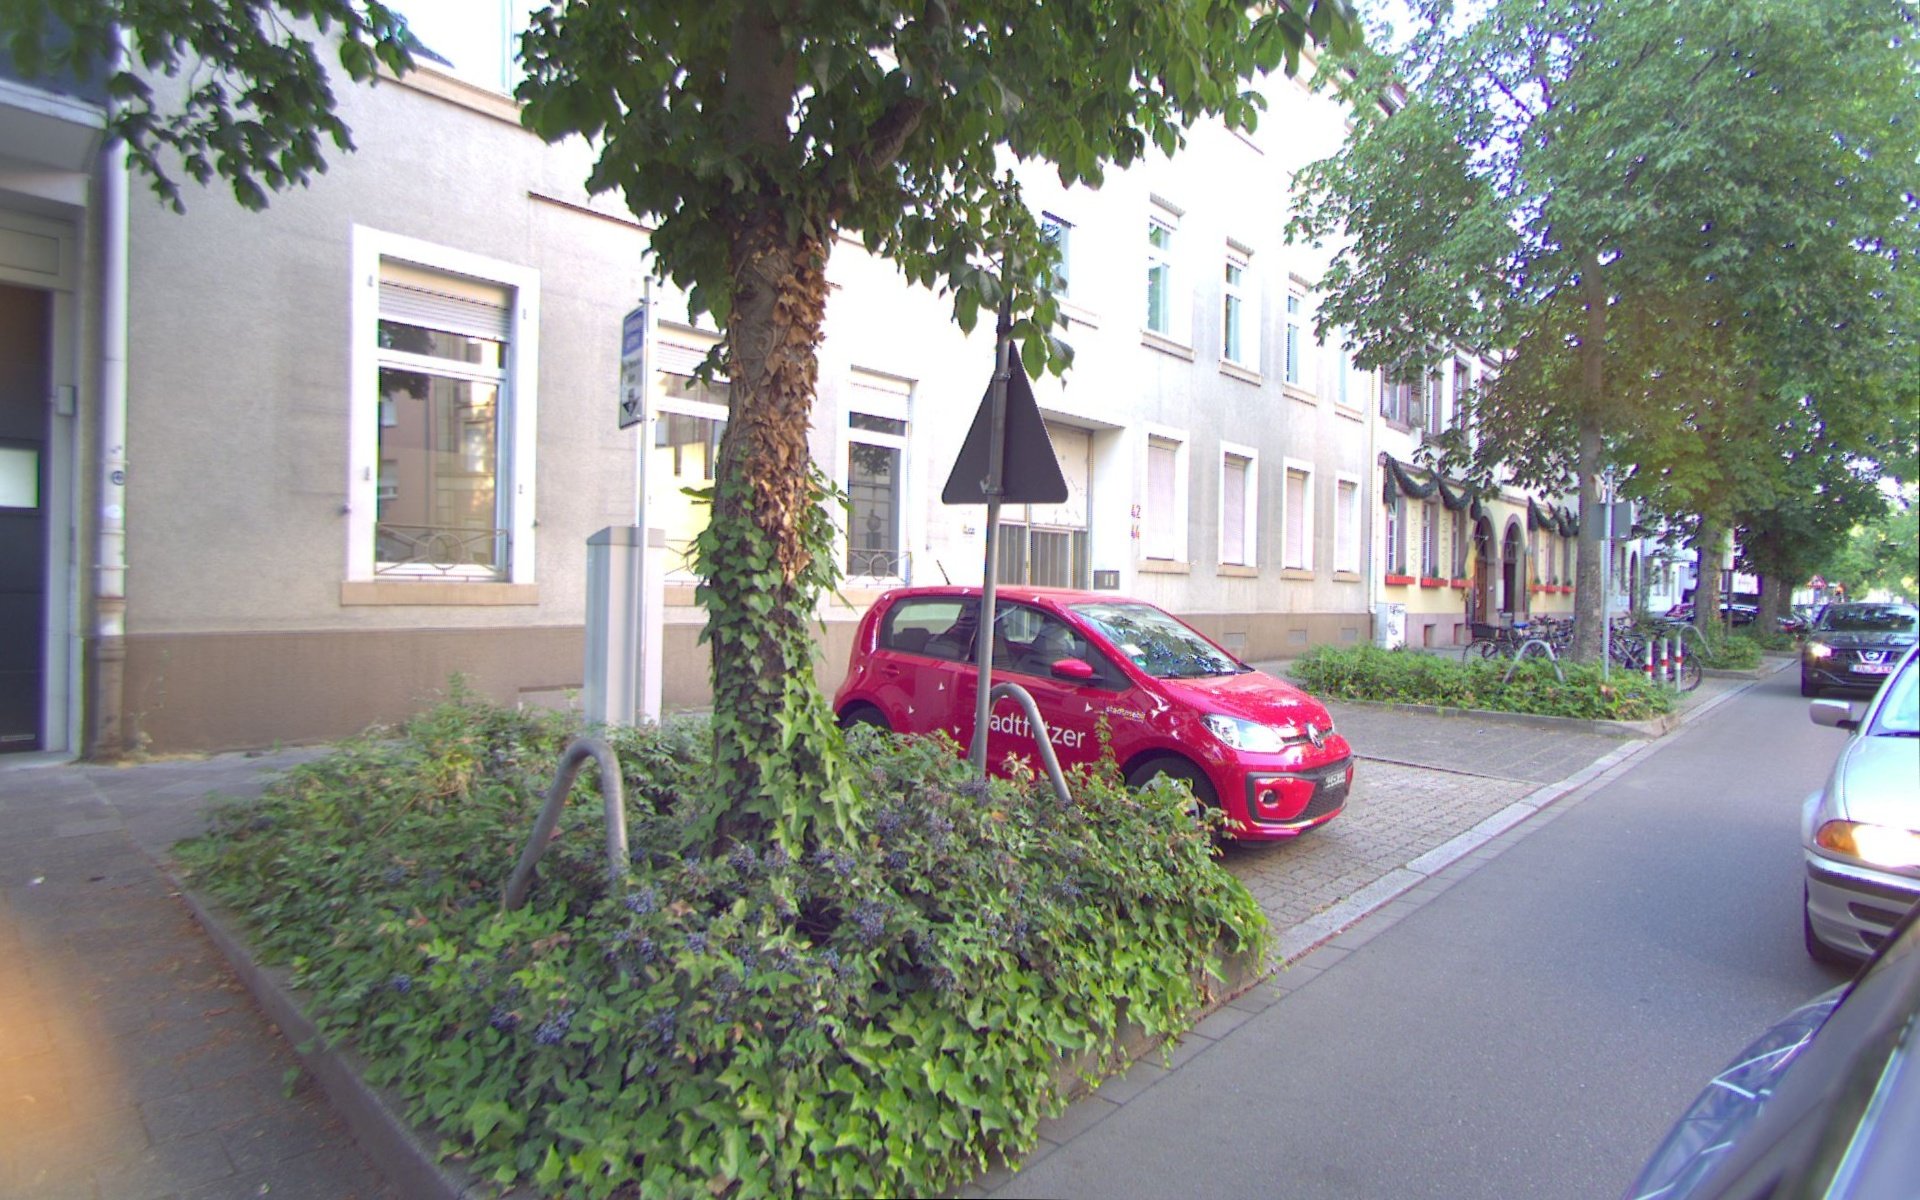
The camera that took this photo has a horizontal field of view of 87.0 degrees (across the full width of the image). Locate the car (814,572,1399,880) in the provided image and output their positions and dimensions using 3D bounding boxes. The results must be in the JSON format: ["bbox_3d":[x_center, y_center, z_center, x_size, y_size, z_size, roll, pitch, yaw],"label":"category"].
[{"bbox_3d":[0.809,0.584,6.815,3.609,1.495,1.639,2,1,42],"label":"car"}]

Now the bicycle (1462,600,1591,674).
[{"bbox_3d":[10.297,0.645,18.430,2.014,1.242,0.529,2,1,33],"label":"bicycle"}]

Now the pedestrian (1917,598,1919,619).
[{"bbox_3d":[91.259,0.811,95.485,1.248,2.039,1.108,1,0,40],"label":"pedestrian"}]

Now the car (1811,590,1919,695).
[{"bbox_3d":[15.729,0.651,17.061,1.802,1.571,3.935,2,1,45],"label":"car"}]

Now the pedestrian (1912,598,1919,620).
[{"bbox_3d":[88.830,0.840,93.543,1.179,2.039,1.007,1,0,40],"label":"pedestrian"}]

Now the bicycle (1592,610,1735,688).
[{"bbox_3d":[12.352,0.828,17.817,2.019,1.242,0.528,2,1,39],"label":"bicycle"}]

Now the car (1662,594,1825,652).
[{"bbox_3d":[26.610,0.726,34.451,4.232,1.761,1.715,2,1,43],"label":"car"}]

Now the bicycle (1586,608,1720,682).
[{"bbox_3d":[12.987,0.814,19.011,2.019,1.242,0.528,2,1,39],"label":"bicycle"}]

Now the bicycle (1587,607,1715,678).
[{"bbox_3d":[13.468,0.804,19.764,2.019,1.242,0.528,2,1,39],"label":"bicycle"}]

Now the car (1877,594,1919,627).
[{"bbox_3d":[48.243,0.518,51.779,1.802,1.571,3.936,2,1,44],"label":"car"}]

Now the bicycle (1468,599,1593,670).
[{"bbox_3d":[10.928,0.632,19.424,2.017,1.242,0.529,2,1,37],"label":"bicycle"}]

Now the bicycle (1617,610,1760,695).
[{"bbox_3d":[11.849,0.827,16.531,1.835,1.242,0.529,2,1,33],"label":"bicycle"}]

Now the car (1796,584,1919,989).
[{"bbox_3d":[5.442,0.686,4.692,4.358,1.460,1.710,0,1,-41],"label":"car"}]

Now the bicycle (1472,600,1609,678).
[{"bbox_3d":[10.081,0.654,17.620,2.014,1.242,0.529,2,1,33],"label":"bicycle"}]
